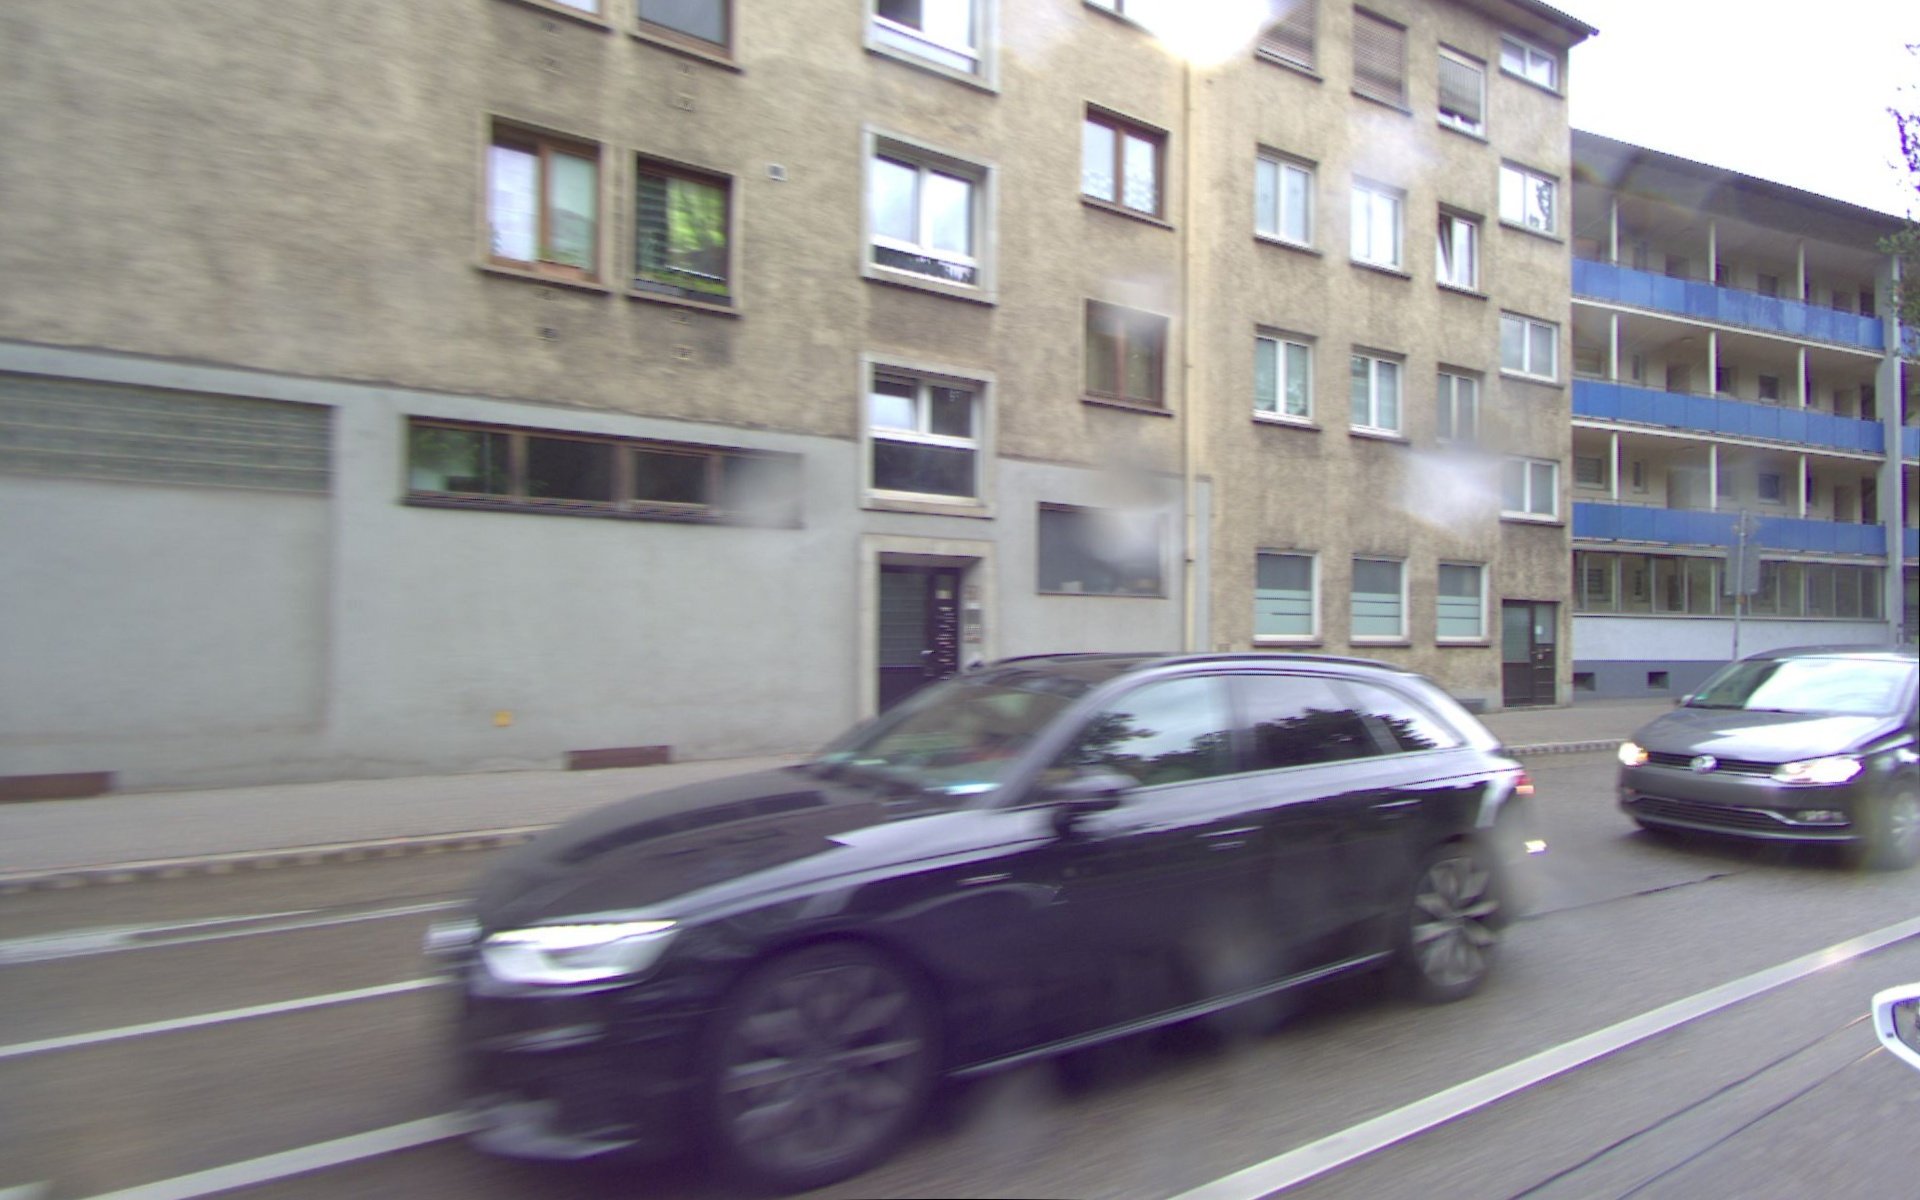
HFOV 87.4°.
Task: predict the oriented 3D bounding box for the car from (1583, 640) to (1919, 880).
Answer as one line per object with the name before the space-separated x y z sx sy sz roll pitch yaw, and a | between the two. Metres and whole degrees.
car | 6.817 1.059 7.777 3.771 1.466 1.674 1 -3 -27

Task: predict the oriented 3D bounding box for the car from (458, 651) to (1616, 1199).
car | 0.533 0.933 4.154 4.571 1.425 1.782 1 -3 -30

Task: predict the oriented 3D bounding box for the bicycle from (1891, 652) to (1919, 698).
bicycle | 22.958 1.779 23.964 1.713 1.037 0.609 1 -2 -31
